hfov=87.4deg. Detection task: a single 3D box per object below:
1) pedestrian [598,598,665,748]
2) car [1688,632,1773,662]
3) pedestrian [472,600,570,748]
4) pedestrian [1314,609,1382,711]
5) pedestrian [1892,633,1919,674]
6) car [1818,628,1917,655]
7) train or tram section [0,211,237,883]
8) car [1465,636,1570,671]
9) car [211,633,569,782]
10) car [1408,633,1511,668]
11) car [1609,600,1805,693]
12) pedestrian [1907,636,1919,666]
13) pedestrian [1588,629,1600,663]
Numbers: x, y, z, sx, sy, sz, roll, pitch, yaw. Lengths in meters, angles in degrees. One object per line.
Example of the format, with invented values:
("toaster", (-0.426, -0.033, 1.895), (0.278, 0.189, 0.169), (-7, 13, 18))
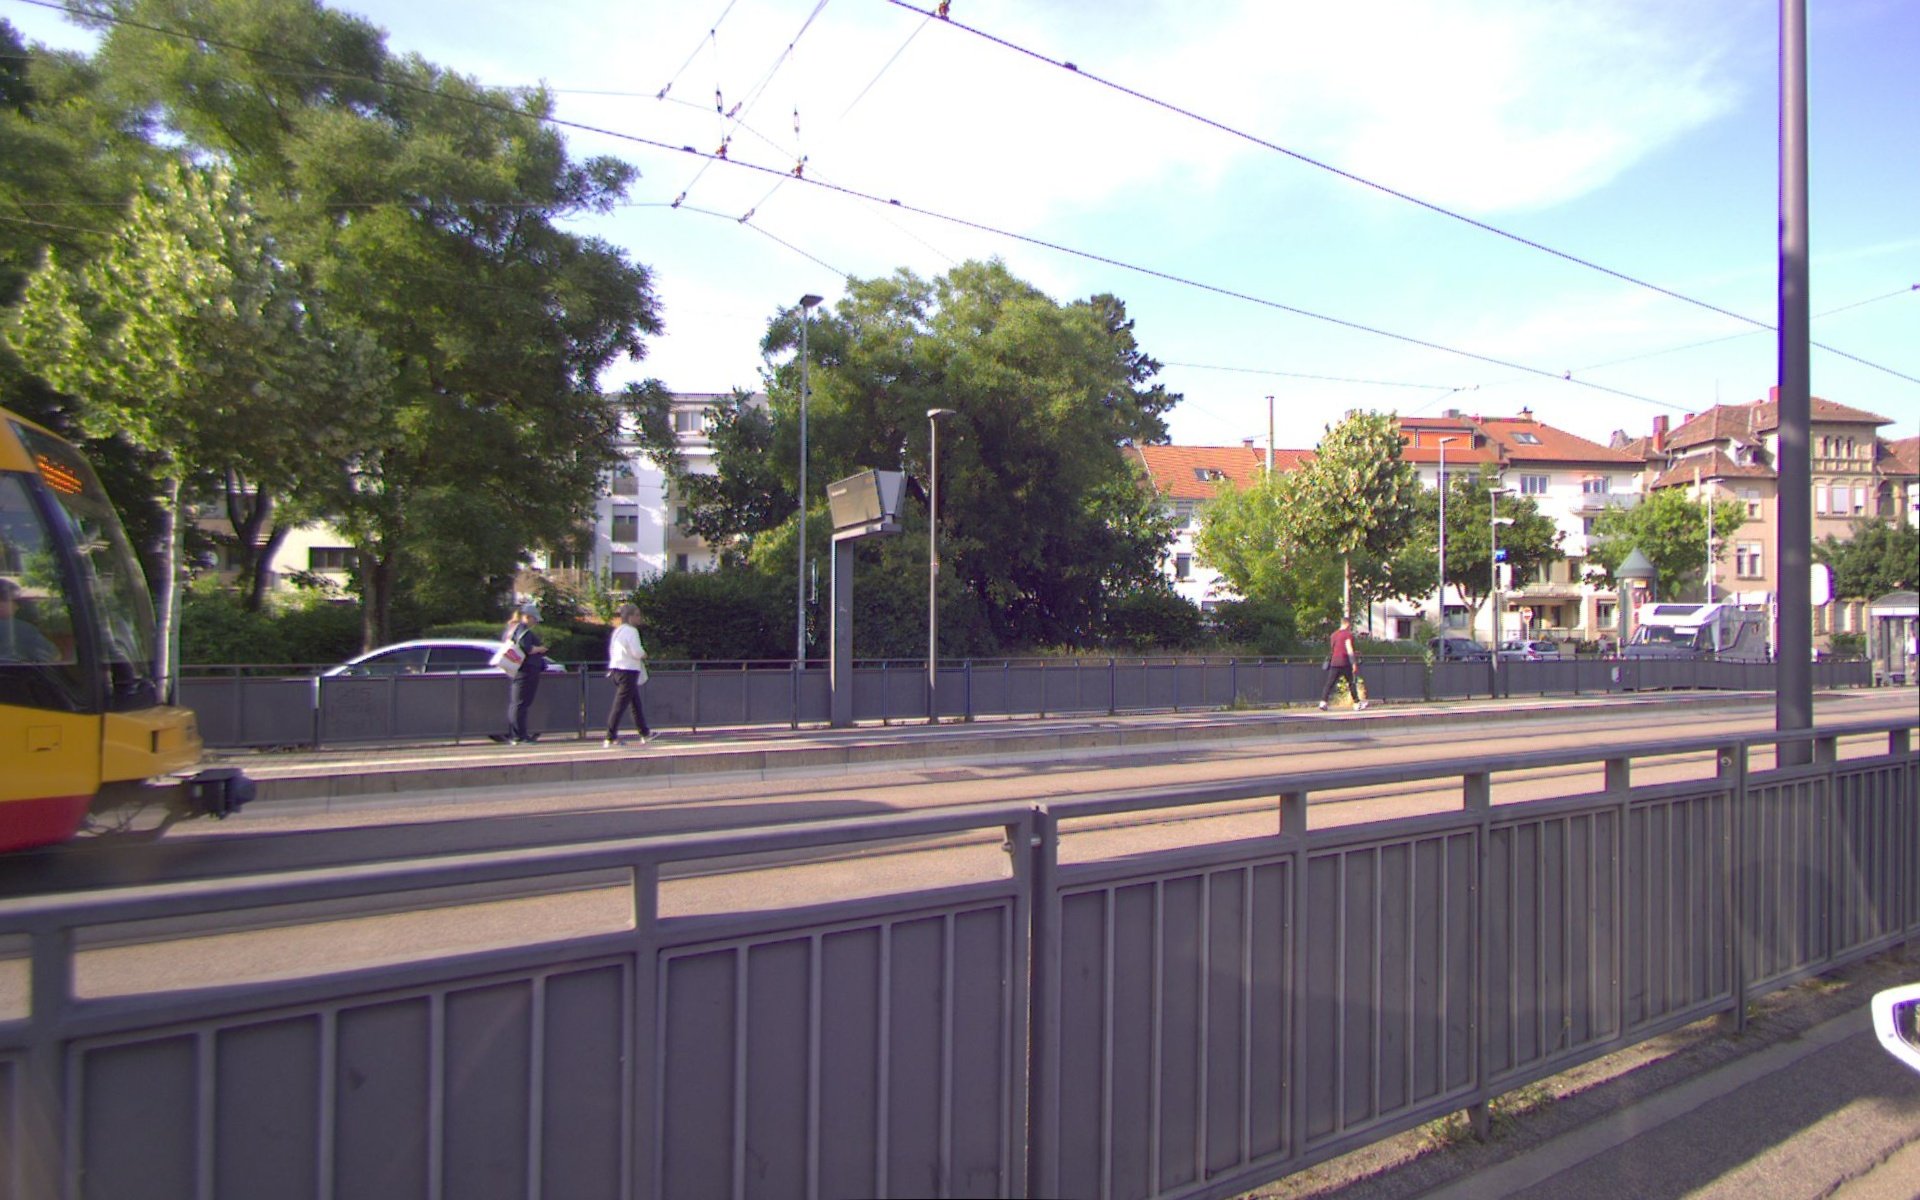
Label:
("pedestrian", (-3.780, 0.832, 11.556), (0.601, 1.663, 0.578), (1, -3, -34))
("car", (48.688, 2.965, 63.560), (1.965, 1.773, 3.991), (1, -1, -12))
("pedestrian", (-5.165, 0.842, 11.823), (0.656, 1.663, 0.859), (0, -1, 44))
("pedestrian", (6.859, 1.047, 17.779), (0.763, 1.756, 0.832), (1, -2, -29))
("pedestrian", (42.142, 2.361, 44.703), (0.740, 1.776, 0.879), (1, -1, -40))
("car", (57.991, 2.619, 64.250), (4.628, 1.649, 2.209), (1, -1, -7))
("train or tram section", (-11.525, -0.361, 3.455), (14.294, 3.525, 3.148), (1, -1, -29))
("car", (24.968, 2.371, 45.146), (1.967, 1.416, 3.988), (1, -1, -15))
("car", (-7.586, 1.326, 13.670), (3.954, 1.706, 1.983), (1, -1, -31))
("car", (22.088, 2.226, 44.607), (1.966, 1.416, 3.988), (1, -1, -15))
("car", (24.674, 1.474, 33.089), (7.381, 2.771, 2.584), (1, -1, -31))
("pedestrian", (57.797, 3.075, 60.516), (0.736, 1.776, 0.883), (1, -1, -26))
("pedestrian", (38.650, 2.812, 61.254), (0.426, 2.040, 0.421), (1, -1, -11))
